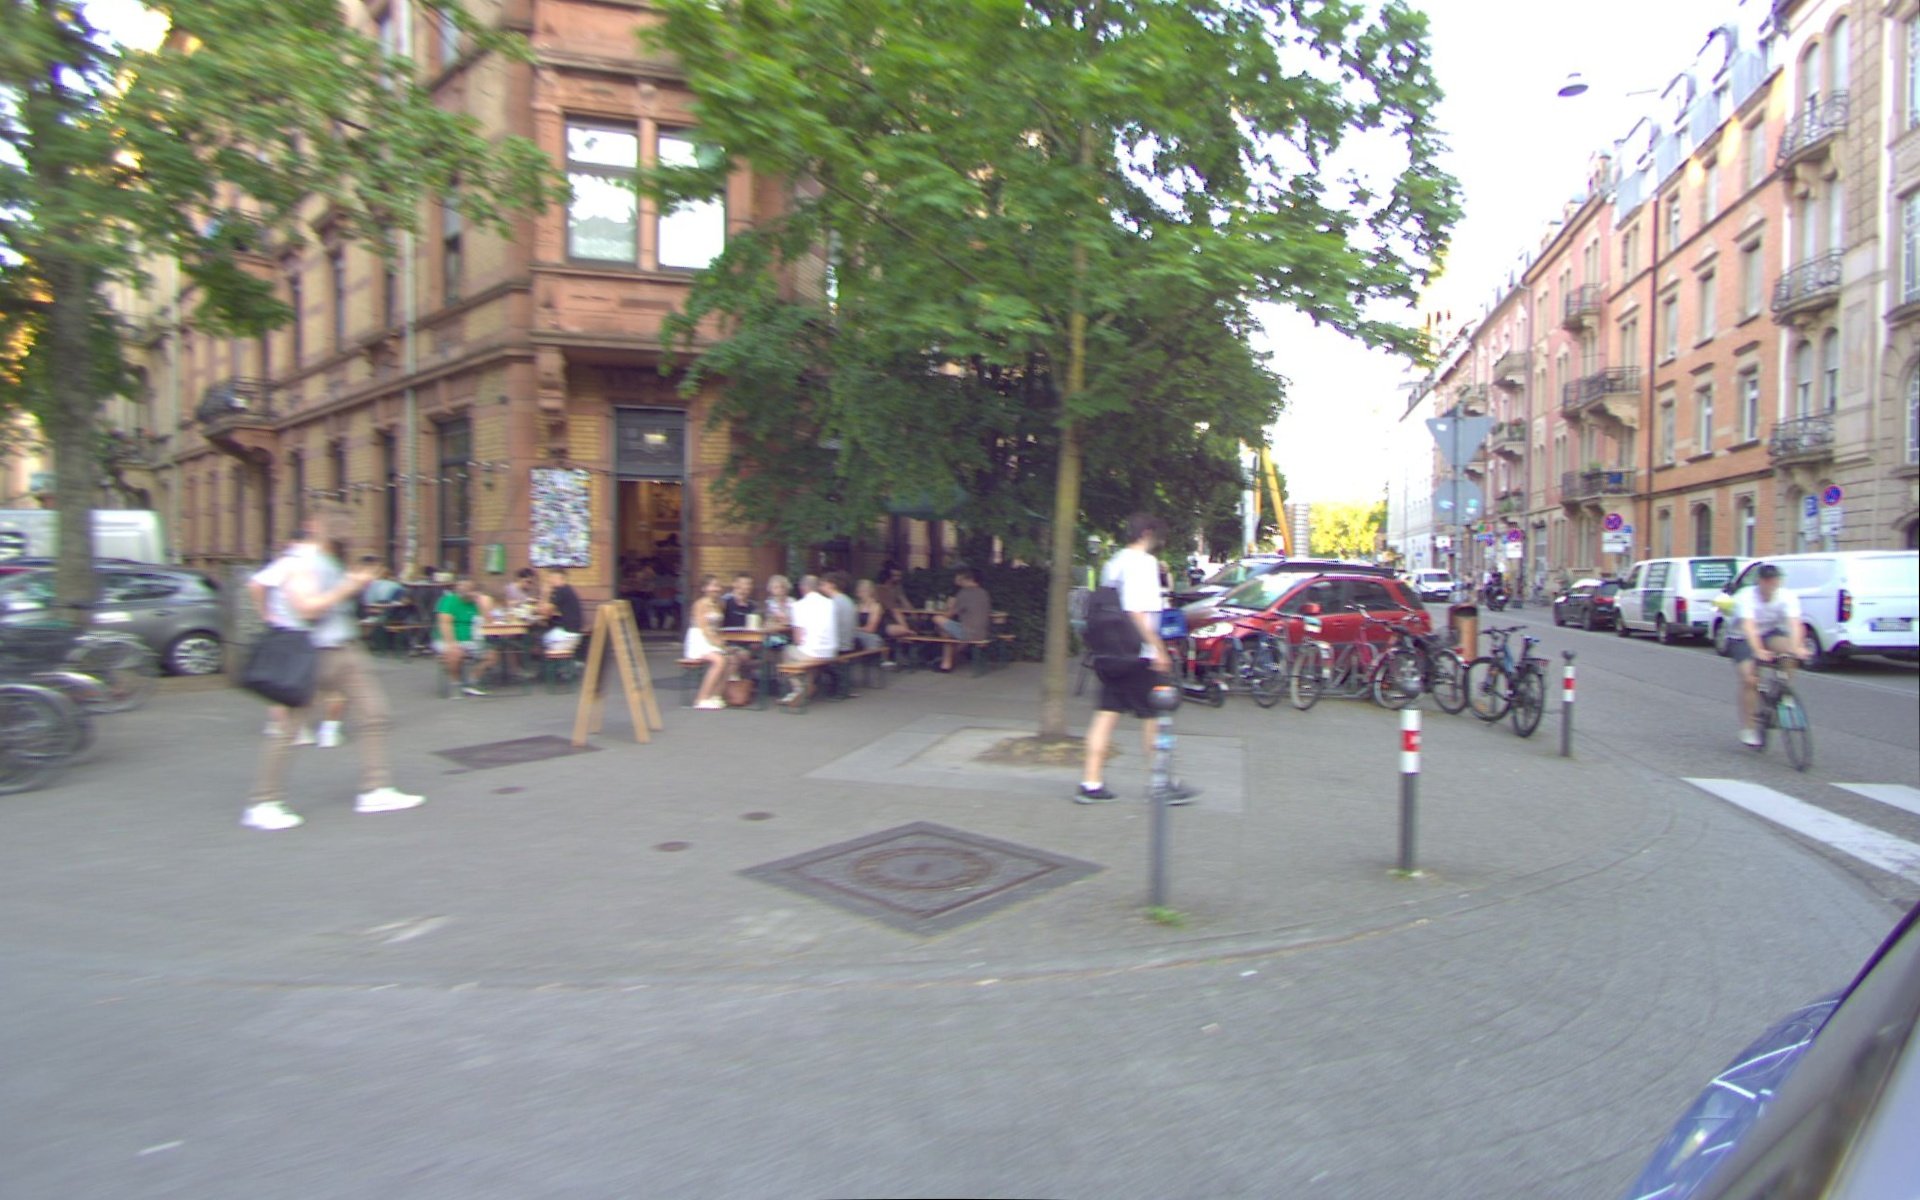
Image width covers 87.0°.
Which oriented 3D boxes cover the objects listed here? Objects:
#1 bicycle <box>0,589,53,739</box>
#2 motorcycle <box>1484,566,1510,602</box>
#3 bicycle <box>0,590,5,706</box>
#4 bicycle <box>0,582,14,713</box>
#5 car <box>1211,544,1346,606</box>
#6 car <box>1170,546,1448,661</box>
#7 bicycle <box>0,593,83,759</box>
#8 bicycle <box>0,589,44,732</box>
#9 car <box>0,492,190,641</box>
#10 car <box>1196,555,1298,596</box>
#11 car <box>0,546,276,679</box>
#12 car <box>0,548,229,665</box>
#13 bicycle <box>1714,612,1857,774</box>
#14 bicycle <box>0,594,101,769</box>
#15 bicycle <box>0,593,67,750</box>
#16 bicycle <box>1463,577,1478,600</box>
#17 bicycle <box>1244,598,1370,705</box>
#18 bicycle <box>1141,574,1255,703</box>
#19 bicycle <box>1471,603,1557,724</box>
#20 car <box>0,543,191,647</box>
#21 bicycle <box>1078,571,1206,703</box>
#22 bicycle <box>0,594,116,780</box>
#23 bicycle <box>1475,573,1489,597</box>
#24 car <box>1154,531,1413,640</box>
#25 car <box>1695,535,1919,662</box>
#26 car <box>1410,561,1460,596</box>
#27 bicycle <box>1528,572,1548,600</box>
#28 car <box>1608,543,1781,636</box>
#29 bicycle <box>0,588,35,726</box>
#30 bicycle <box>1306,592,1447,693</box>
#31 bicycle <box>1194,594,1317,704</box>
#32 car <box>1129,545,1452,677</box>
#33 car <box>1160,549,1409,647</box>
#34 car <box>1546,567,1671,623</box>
[{"bbox_3d":[-8.011,0.524,7.383,0.433,1.148,2.008,0,2,38],"label":"bicycle"},{"bbox_3d":[22.426,-0.674,42.298,0.678,1.422,2.002,-1,2,19],"label":"motorcycle"},{"bbox_3d":[-9.583,0.435,8.643,0.433,1.148,2.008,0,2,38],"label":"bicycle"},{"bbox_3d":[-9.194,0.454,8.322,0.433,1.148,2.008,0,2,38],"label":"bicycle"},{"bbox_3d":[13.011,-1.021,41.455,4.837,2.391,2.004,1,1,-8],"label":"car"},{"bbox_3d":[5.930,0.055,17.270,4.135,1.709,1.938,2,2,-21],"label":"car"},{"bbox_3d":[-7.260,0.562,6.795,0.433,1.148,2.008,0,2,38],"label":"bicycle"},{"bbox_3d":[-8.372,0.520,7.700,0.433,1.148,2.008,0,2,38],"label":"bicycle"},{"bbox_3d":[-16.839,-0.554,17.293,2.235,2.450,5.465,0,2,39],"label":"car"},{"bbox_3d":[15.506,-1.337,54.845,5.120,1.980,1.889,3,1,17],"label":"car"},{"bbox_3d":[-11.467,0.112,12.903,1.904,1.545,4.227,0,3,43],"label":"car"},{"bbox_3d":[-13.116,0.067,14.302,1.904,1.545,4.227,0,3,43],"label":"car"},{"bbox_3d":[7.100,0.731,8.780,0.515,1.169,1.769,0,2,24],"label":"bicycle"},{"bbox_3d":[-6.867,0.572,6.488,0.433,1.148,2.008,0,2,38],"label":"bicycle"},{"bbox_3d":[-7.644,0.559,7.096,0.433,1.148,2.008,0,2,38],"label":"bicycle"},{"bbox_3d":[25.015,-0.581,49.600,0.461,1.081,1.511,-1,2,20],"label":"bicycle"},{"bbox_3d":[3.950,0.544,11.666,0.586,1.076,1.772,-1,2,-9],"label":"bicycle"},{"bbox_3d":[2.615,0.371,11.310,0.586,1.304,1.772,-1,2,-9],"label":"bicycle"},{"bbox_3d":[5.625,0.605,10.334,0.360,1.076,1.546,-1,2,13],"label":"bicycle"},{"bbox_3d":[-14.877,-0.084,15.653,1.993,1.545,4.475,0,3,43],"label":"car"},{"bbox_3d":[1.909,0.338,10.879,0.586,1.304,1.727,0,1,-19],"label":"bicycle"},{"bbox_3d":[-6.476,0.576,6.143,0.433,1.148,2.008,0,2,38],"label":"bicycle"},{"bbox_3d":[25.979,-0.762,50.396,0.462,1.169,1.985,-1,2,24],"label":"bicycle"},{"bbox_3d":[7.157,-0.304,22.378,5.322,2.098,1.938,2,2,-21],"label":"car"},{"bbox_3d":[15.365,-0.105,17.972,2.086,1.945,5.003,0,2,15],"label":"car"},{"bbox_3d":[26.425,-1.239,56.435,1.751,1.811,4.567,0,2,15],"label":"car"},{"bbox_3d":[26.018,-0.636,45.539,0.407,1.174,1.828,-1,2,18],"label":"bicycle"},{"bbox_3d":[17.018,-0.303,23.754,1.818,1.945,4.819,0,2,18],"label":"car"},{"bbox_3d":[-8.731,0.513,8.019,0.433,1.148,2.008,0,2,38],"label":"bicycle"},{"bbox_3d":[5.111,0.517,12.462,1.524,1.175,0.365,1,2,4],"label":"bicycle"},{"bbox_3d":[3.330,0.519,11.574,0.586,1.076,1.773,2,2,-9],"label":"bicycle"},{"bbox_3d":[4.588,0.162,14.221,3.964,1.648,1.697,2,1,-14],"label":"car"},{"bbox_3d":[6.242,-0.050,19.602,4.135,1.642,1.938,2,2,-16],"label":"car"},{"bbox_3d":[18.586,-0.200,29.223,1.816,1.489,4.154,0,2,15],"label":"car"}]
